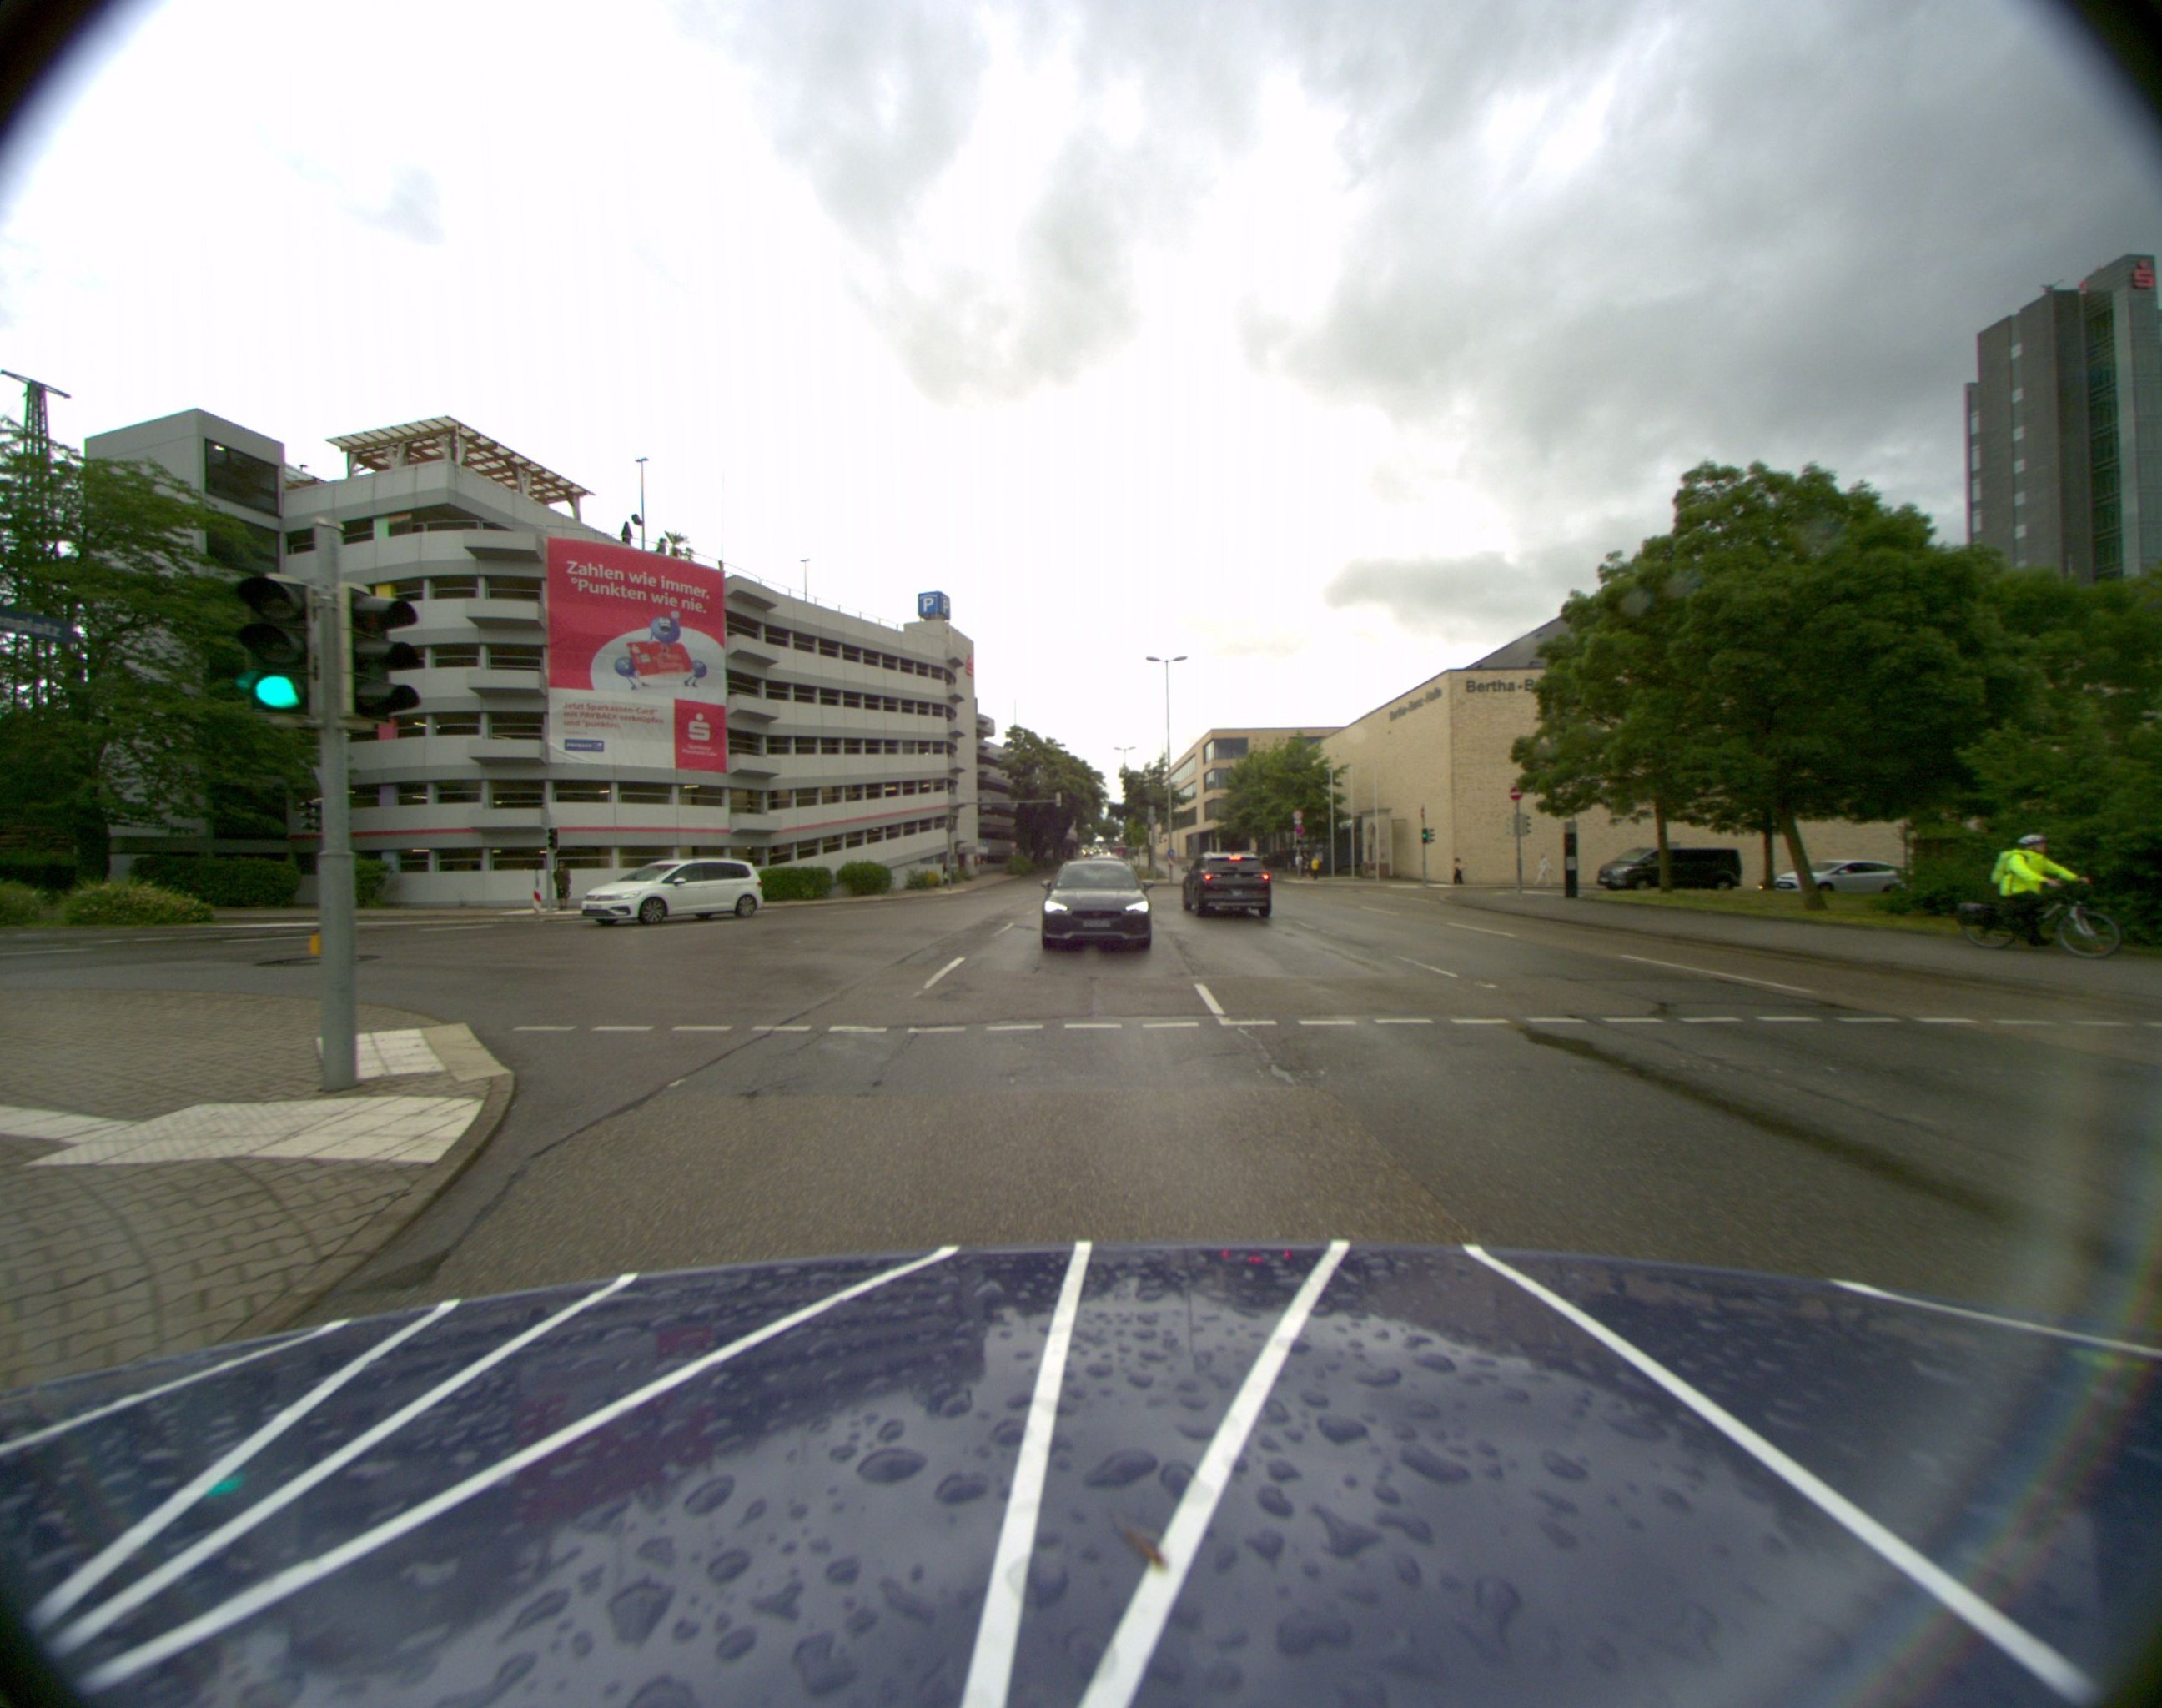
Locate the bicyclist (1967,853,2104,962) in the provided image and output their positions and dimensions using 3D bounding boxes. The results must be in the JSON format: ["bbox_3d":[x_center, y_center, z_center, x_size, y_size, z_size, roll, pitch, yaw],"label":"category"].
[{"bbox_3d":[13.254,0.720,10.581,0.844,1.434,0.812,-2,1,3],"label":"bicyclist"}]

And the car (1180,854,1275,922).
[{"bbox_3d":[3.747,0.810,20.169,1.812,1.585,4.295,-1,0,2],"label":"car"}]

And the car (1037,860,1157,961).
[{"bbox_3d":[0.170,0.862,13.644,1.739,1.380,4.581,-2,0,-2],"label":"car"}]

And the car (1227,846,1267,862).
[{"bbox_3d":[17.931,-0.006,82.127,3.995,1.576,2.001,-2,1,5],"label":"car"}]

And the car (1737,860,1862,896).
[{"bbox_3d":[34.266,1.125,36.305,3.997,1.449,2.000,3,0,0],"label":"car"}]

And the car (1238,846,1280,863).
[{"bbox_3d":[18.648,0.052,79.639,3.995,1.576,2.001,-2,1,5],"label":"car"}]

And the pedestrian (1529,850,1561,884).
[{"bbox_3d":[23.952,0.685,39.232,1.113,1.690,0.807,-2,1,-1],"label":"pedestrian"}]

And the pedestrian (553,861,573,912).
[{"bbox_3d":[-19.406,1.216,28.463,0.546,1.879,0.506,2,0,-39],"label":"pedestrian"}]

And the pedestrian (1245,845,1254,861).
[{"bbox_3d":[17.135,-0.128,77.383,0.803,1.638,0.976,-2,1,7],"label":"pedestrian"}]

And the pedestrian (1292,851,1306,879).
[{"bbox_3d":[14.082,0.701,49.077,0.595,1.721,0.692,-2,1,-4],"label":"pedestrian"}]

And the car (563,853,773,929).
[{"bbox_3d":[-10.427,0.873,19.564,1.995,1.716,4.408,-1,-1,25],"label":"car"}]

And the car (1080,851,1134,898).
[{"bbox_3d":[0.958,0.730,29.713,1.846,1.647,3.999,-2,0,-1],"label":"car"}]

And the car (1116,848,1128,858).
[{"bbox_3d":[7.878,-0.211,145.960,1.855,1.841,4.300,2,0,-1],"label":"car"}]

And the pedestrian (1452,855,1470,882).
[{"bbox_3d":[20.026,0.766,40.042,0.622,1.368,0.475,-2,1,2],"label":"pedestrian"}]

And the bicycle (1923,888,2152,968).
[{"bbox_3d":[13.282,0.994,10.662,0.887,0.902,1.867,-2,0,3],"label":"bicycle"}]

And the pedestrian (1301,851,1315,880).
[{"bbox_3d":[13.839,0.680,46.277,0.595,1.761,0.692,-2,1,0],"label":"pedestrian"}]

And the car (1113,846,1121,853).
[{"bbox_3d":[8.340,-0.990,176.837,1.675,1.598,4.300,2,0,-1],"label":"car"}]

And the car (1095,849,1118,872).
[{"bbox_3d":[2.191,0.540,64.731,1.804,1.818,3.950,-3,0,2],"label":"car"}]

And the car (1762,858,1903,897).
[{"bbox_3d":[32.123,0.989,32.583,3.997,1.449,2.000,3,0,0],"label":"car"}]

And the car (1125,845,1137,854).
[{"bbox_3d":[8.244,-0.687,125.515,1.675,1.461,4.300,1,0,-1],"label":"car"}]

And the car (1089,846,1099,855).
[{"bbox_3d":[2.598,-0.663,150.559,1.998,1.716,4.400,0,-1,1],"label":"car"}]

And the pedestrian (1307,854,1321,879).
[{"bbox_3d":[14.674,0.793,47.822,0.595,1.507,0.692,-2,1,0],"label":"pedestrian"}]

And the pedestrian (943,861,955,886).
[{"bbox_3d":[-8.701,1.295,50.171,0.584,1.650,0.519,2,2,18],"label":"pedestrian"}]

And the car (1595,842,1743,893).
[{"bbox_3d":[25.187,0.549,32.684,4.790,1.914,2.000,3,0,-2],"label":"car"}]
